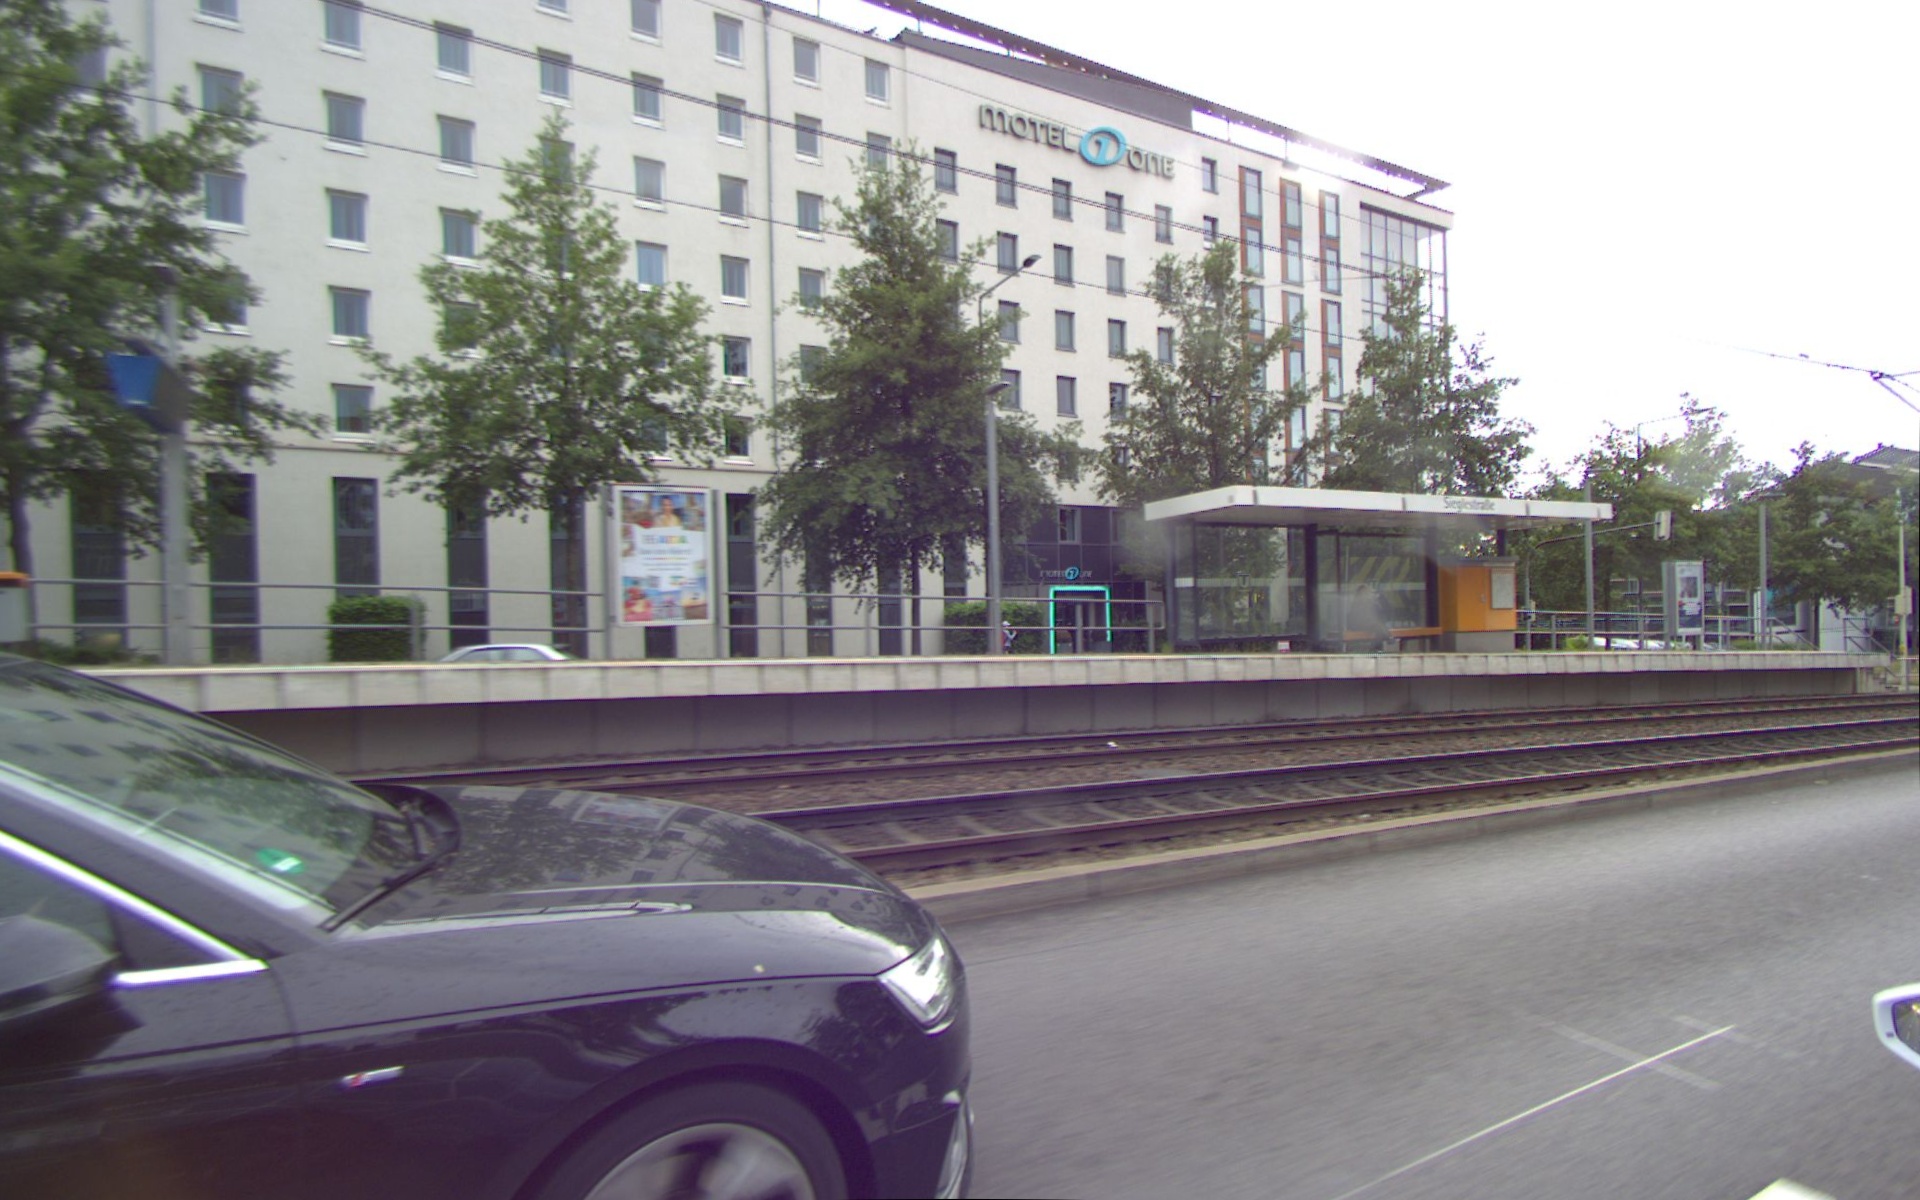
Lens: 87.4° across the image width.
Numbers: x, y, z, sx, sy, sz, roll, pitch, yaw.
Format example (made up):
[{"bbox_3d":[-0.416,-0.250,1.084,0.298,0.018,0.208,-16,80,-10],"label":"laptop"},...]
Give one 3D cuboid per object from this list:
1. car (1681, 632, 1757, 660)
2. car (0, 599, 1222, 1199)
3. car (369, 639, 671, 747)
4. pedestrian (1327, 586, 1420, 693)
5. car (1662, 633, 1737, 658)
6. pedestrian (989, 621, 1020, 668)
[{"bbox_3d":[56.025,3.360,74.243,1.838,1.861,4.057,2,0,-27],"label":"car"},{"bbox_3d":[-1.929,0.725,1.819,4.770,1.453,1.782,1,-1,-30],"label":"car"},{"bbox_3d":[-7.611,1.517,17.567,4.602,1.674,1.887,1,-2,-30],"label":"car"},{"bbox_3d":[8.185,0.758,19.902,1.255,2.040,1.121,2,0,-29],"label":"pedestrian"},{"bbox_3d":[53.603,3.286,72.865,1.617,1.639,4.039,2,0,-27],"label":"car"},{"bbox_3d":[1.513,1.527,34.459,0.825,1.599,0.597,2,0,-30],"label":"pedestrian"}]
